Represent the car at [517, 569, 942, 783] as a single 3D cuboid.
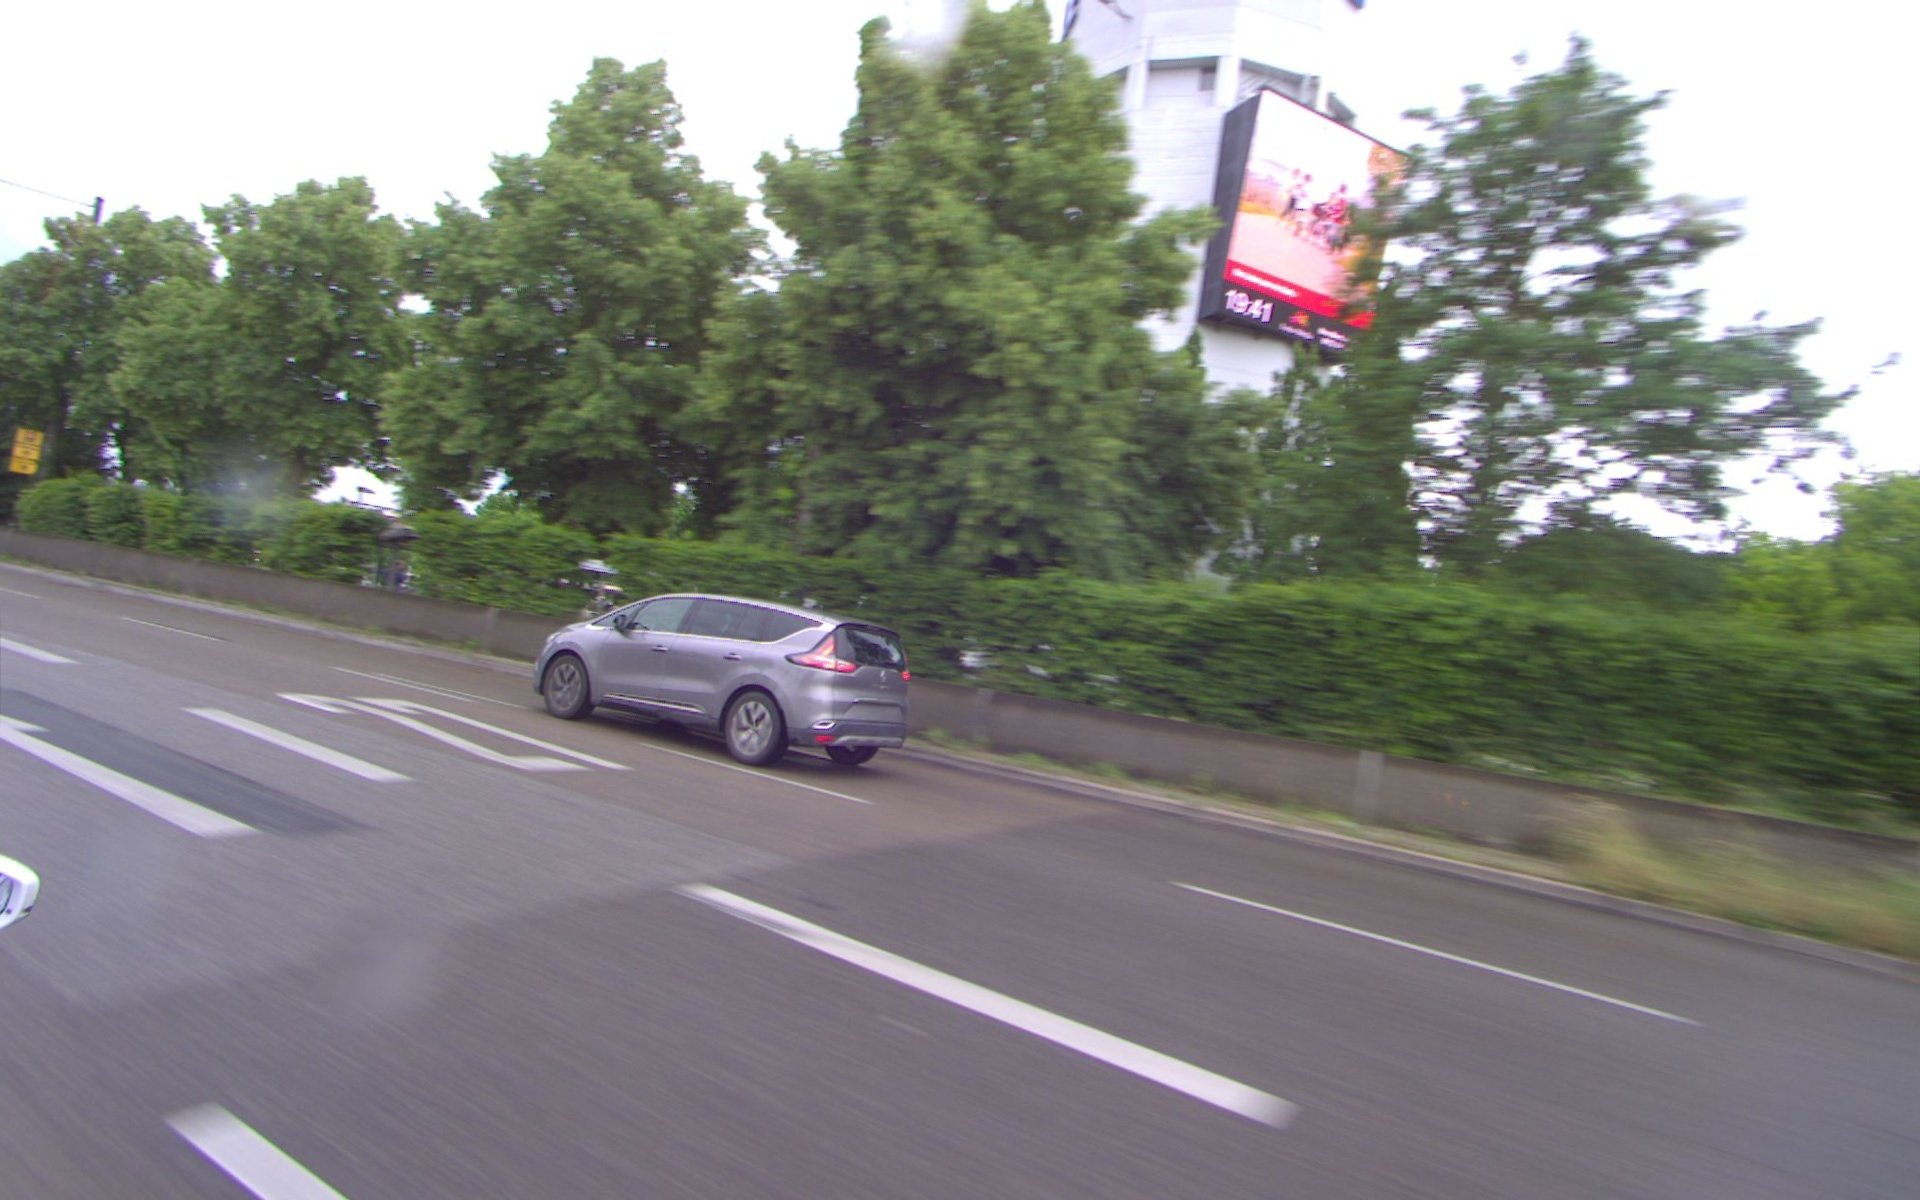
[{"bbox_3d":[-2.671,0.787,11.295,4.548,1.666,1.731,6,-4,31],"label":"car"}]
